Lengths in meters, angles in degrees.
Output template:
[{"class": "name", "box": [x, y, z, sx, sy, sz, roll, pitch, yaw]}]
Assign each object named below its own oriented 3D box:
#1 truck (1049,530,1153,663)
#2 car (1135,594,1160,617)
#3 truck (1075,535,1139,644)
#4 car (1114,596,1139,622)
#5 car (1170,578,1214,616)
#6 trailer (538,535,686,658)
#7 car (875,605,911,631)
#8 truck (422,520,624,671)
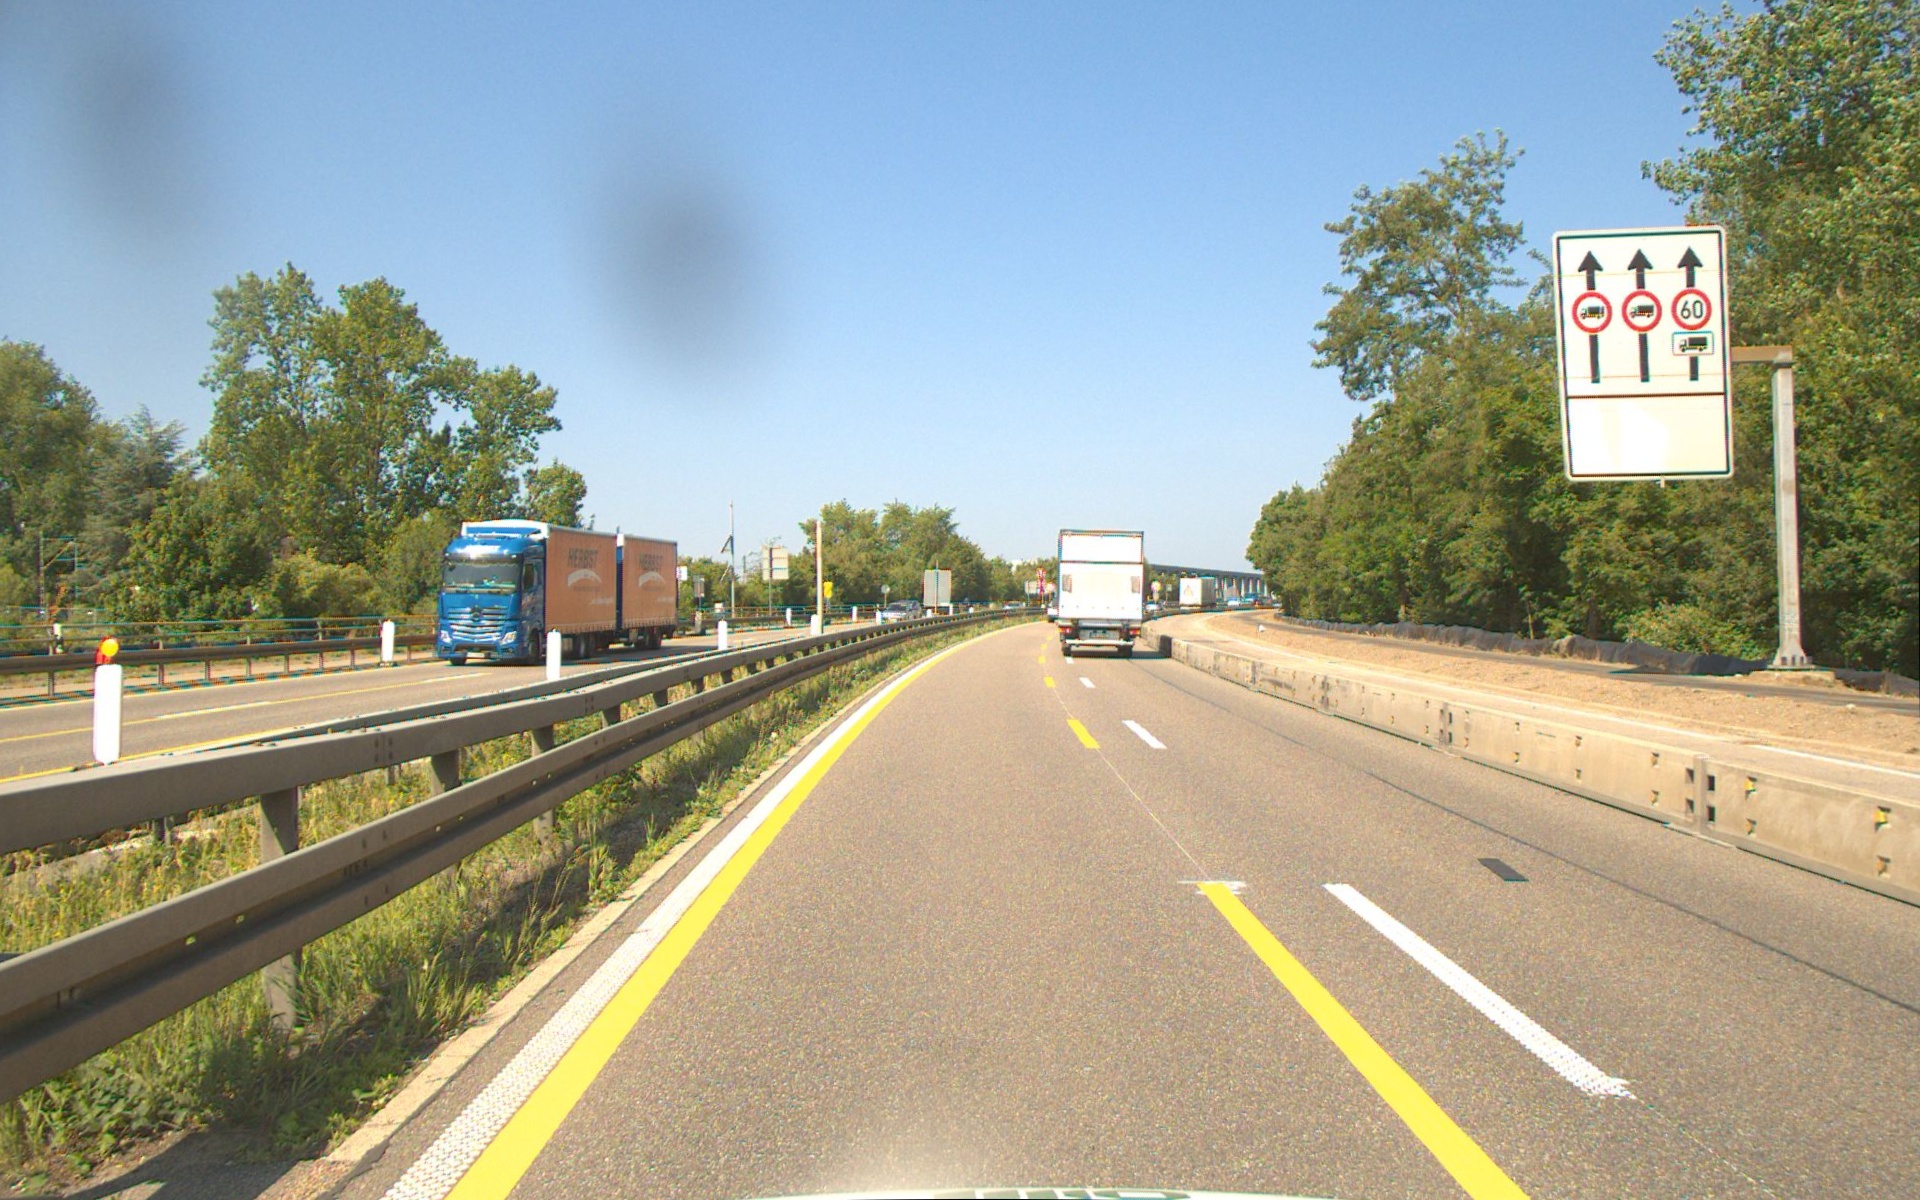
[{"class": "truck", "box": [3.937, -0.103, 47.623, 2.579, 3.487, 7.235, 1, 0, 2]}, {"class": "car", "box": [18.186, 0.502, 160.371, 1.951, 2.049, 4.004, -2, 0, 13]}, {"class": "truck", "box": [6.608, -0.455, 73.460, 2.578, 4.547, 7.238, 1, 0, 6]}, {"class": "car", "box": [13.940, 0.772, 138.212, 1.951, 2.049, 4.003, -2, 0, 7]}, {"class": "car", "box": [27.965, -0.414, 199.145, 4.117, 4.326, 10.671, -2, 0, 13]}, {"class": "trailer", "box": [-12.705, -0.149, 61.426, 2.974, 4.163, 9.792, 0, 0, 3]}, {"class": "car", "box": [-4.568, 1.190, 113.377, 1.869, 1.680, 4.379, -2, 0, 6]}, {"class": "truck", "box": [-13.213, -0.152, 51.216, 2.974, 4.163, 10.628, 0, 0, 3]}]
